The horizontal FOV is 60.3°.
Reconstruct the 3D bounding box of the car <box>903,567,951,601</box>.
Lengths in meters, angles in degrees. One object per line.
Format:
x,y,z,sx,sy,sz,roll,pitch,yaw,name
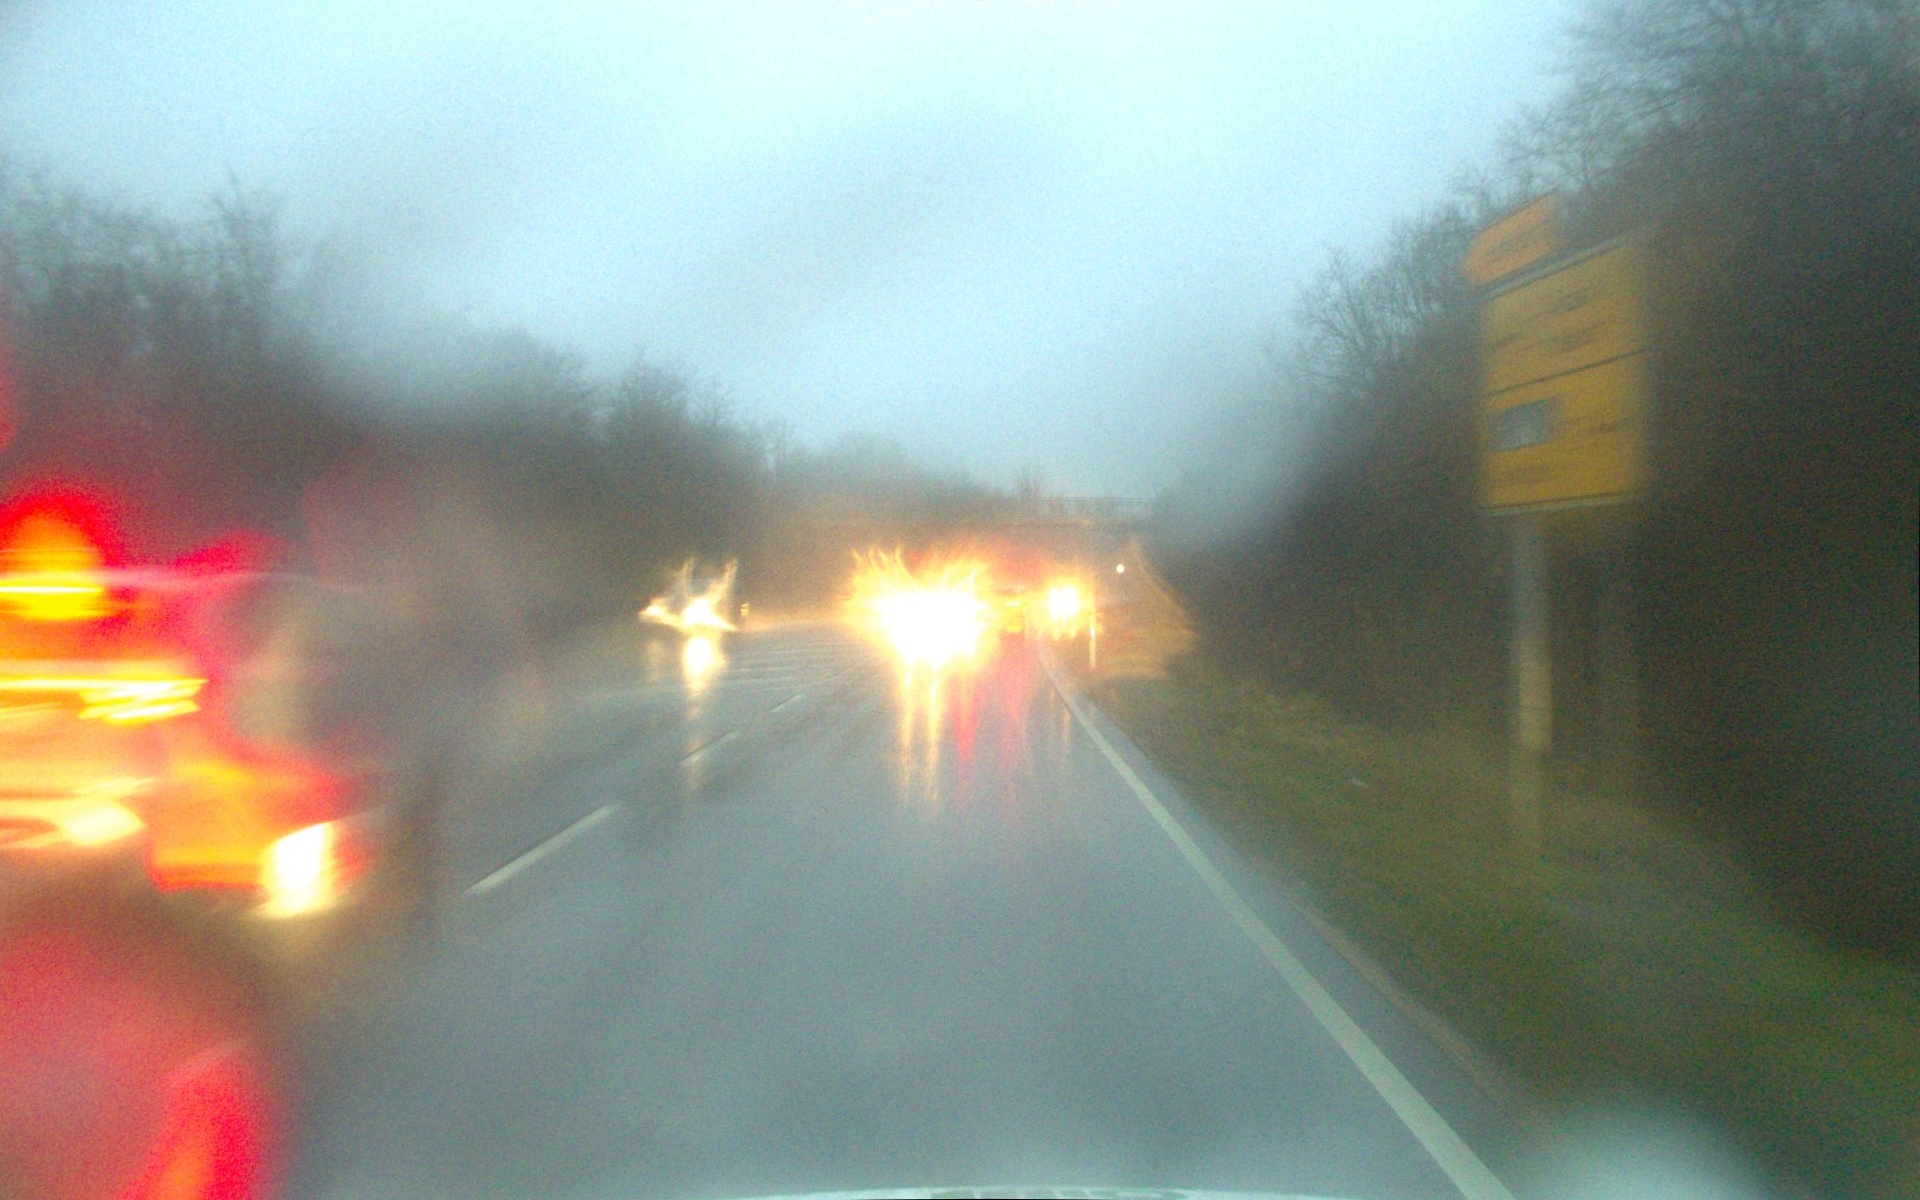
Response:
-1.584,-0.809,81.416,1.785,1.550,4.302,-1,2,6,car

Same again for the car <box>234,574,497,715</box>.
-7.574,0.505,21.576,1.786,1.645,4.573,0,0,0,car

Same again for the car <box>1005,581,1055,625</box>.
2.871,0.087,67.173,1.643,1.704,4.102,-1,1,8,car

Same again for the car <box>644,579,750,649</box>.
-7.913,0.392,50.198,1.798,2.004,4.362,1,0,11,car

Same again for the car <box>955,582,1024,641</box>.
0.821,0.266,43.235,1.643,1.414,4.100,-1,1,3,car

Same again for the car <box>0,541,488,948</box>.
-3.927,0.573,8.847,1.678,1.655,4.217,0,0,-1,car
